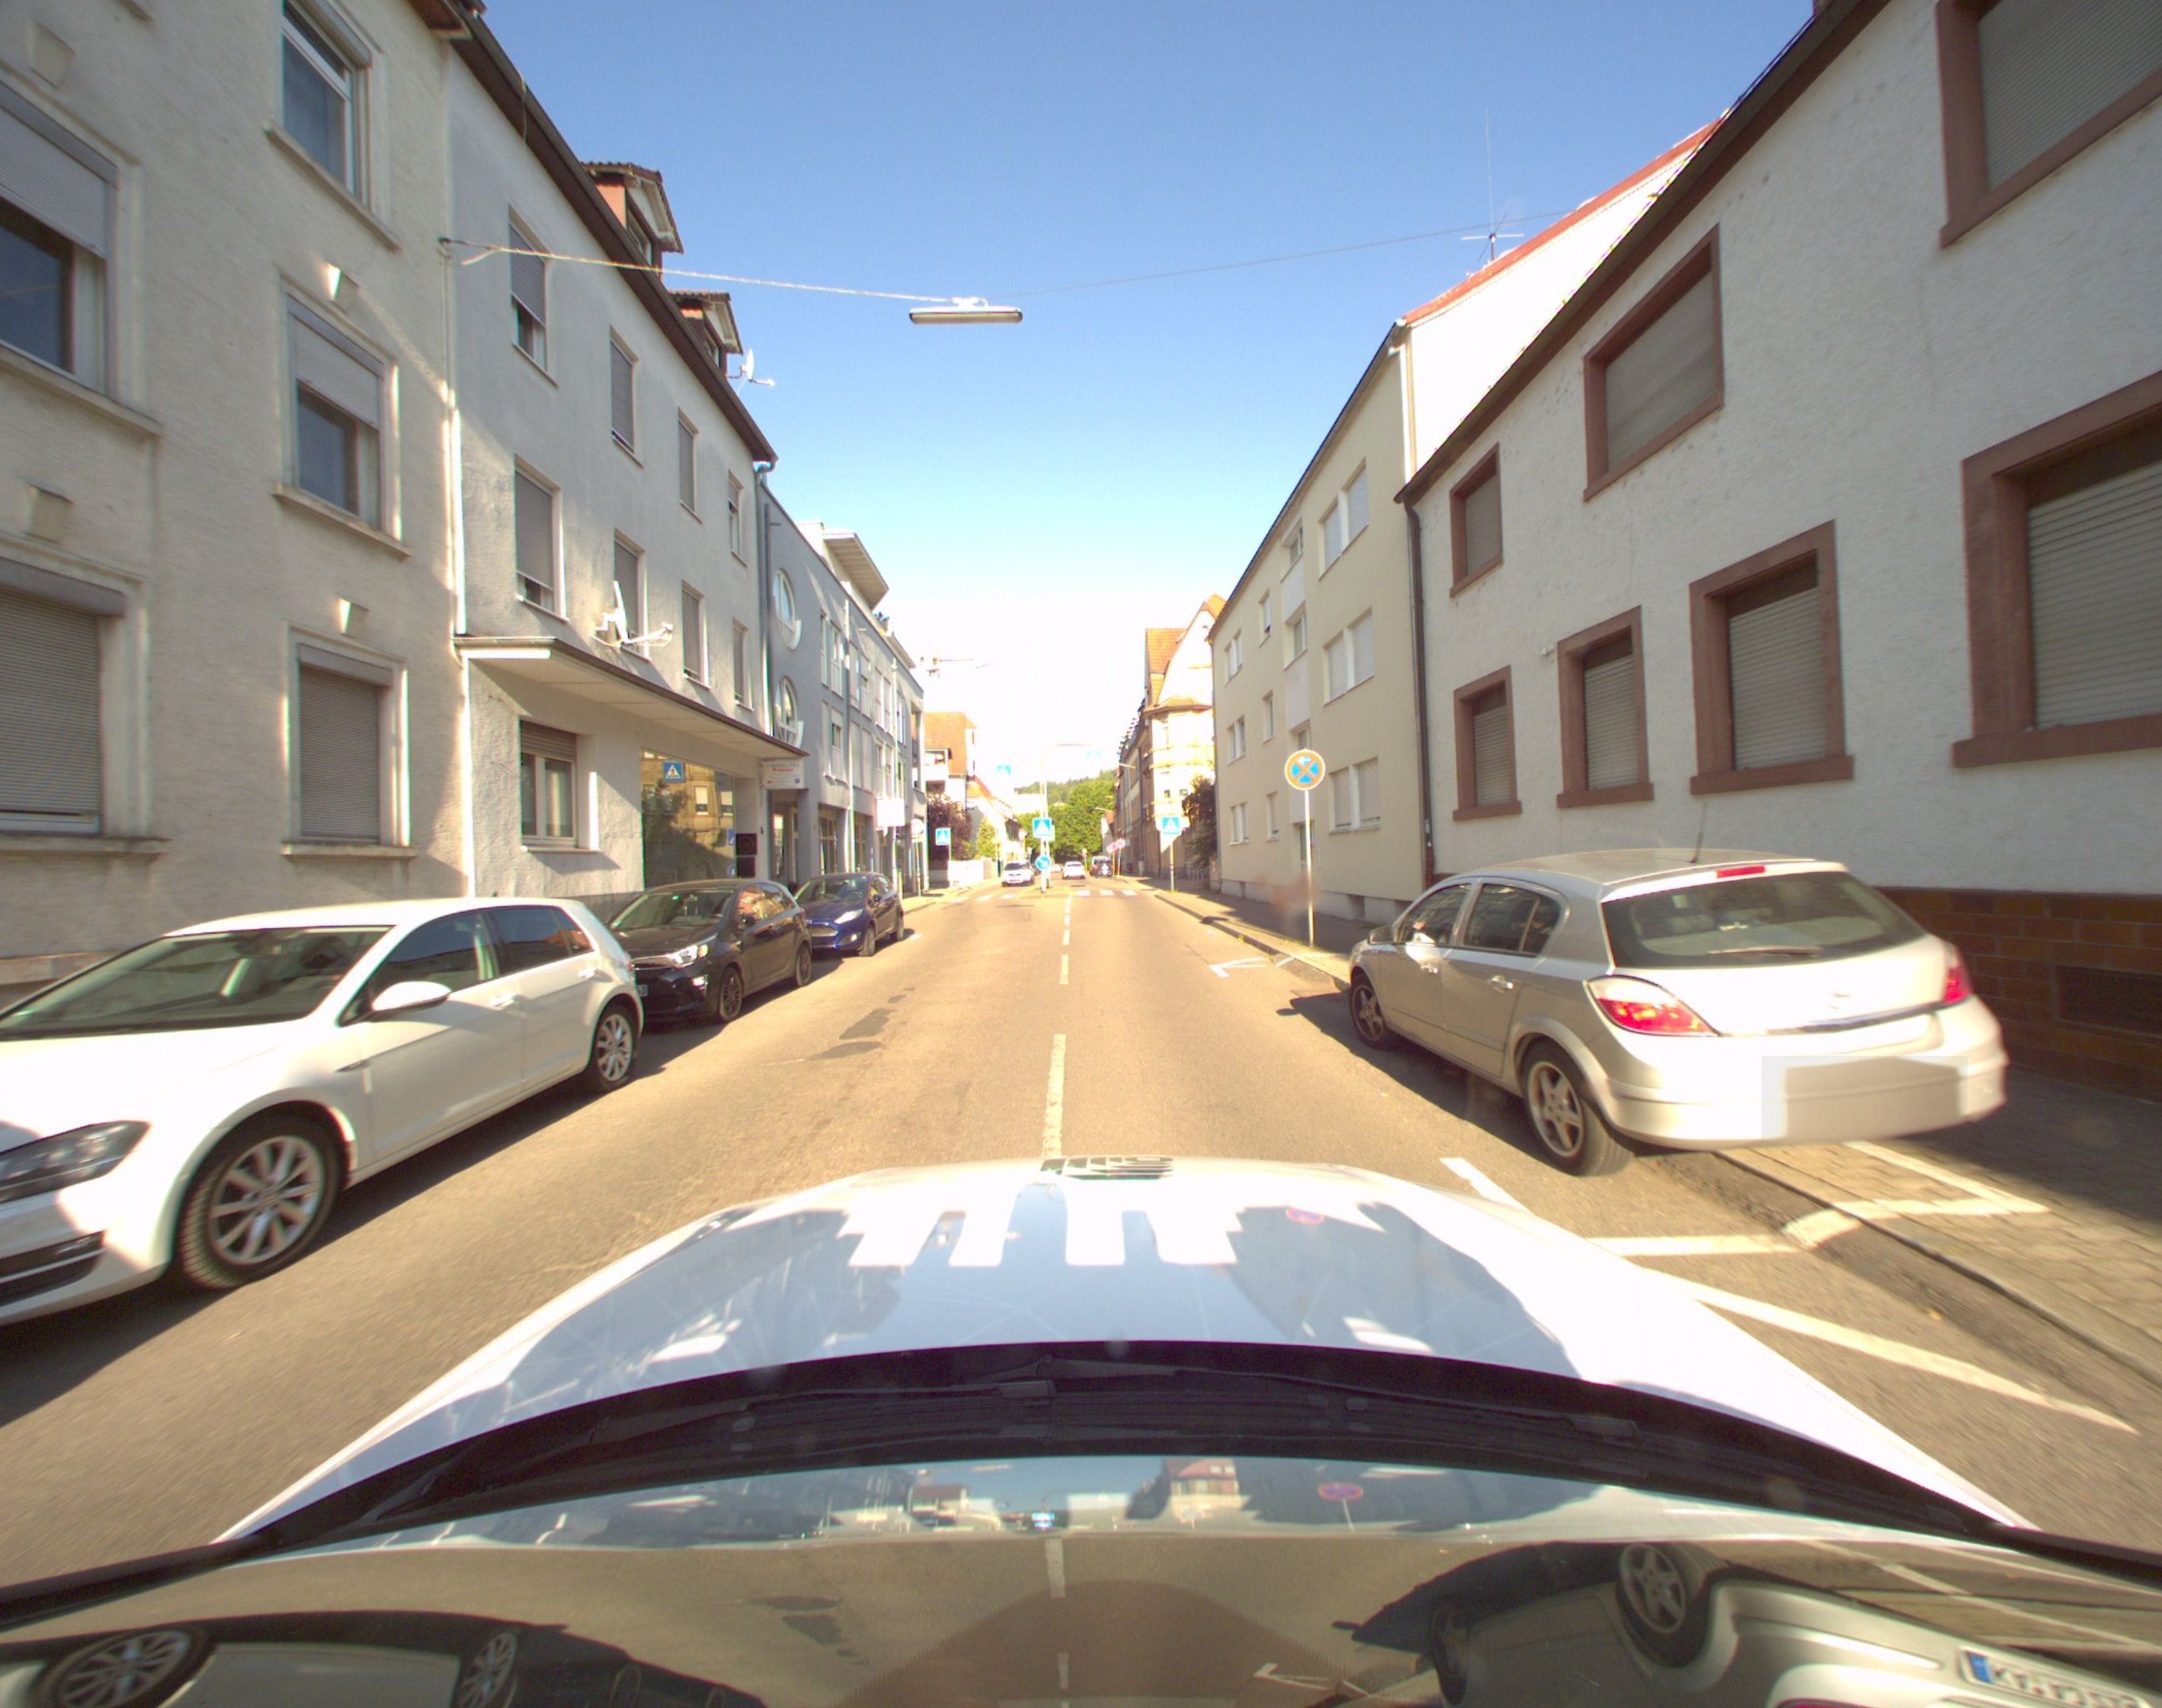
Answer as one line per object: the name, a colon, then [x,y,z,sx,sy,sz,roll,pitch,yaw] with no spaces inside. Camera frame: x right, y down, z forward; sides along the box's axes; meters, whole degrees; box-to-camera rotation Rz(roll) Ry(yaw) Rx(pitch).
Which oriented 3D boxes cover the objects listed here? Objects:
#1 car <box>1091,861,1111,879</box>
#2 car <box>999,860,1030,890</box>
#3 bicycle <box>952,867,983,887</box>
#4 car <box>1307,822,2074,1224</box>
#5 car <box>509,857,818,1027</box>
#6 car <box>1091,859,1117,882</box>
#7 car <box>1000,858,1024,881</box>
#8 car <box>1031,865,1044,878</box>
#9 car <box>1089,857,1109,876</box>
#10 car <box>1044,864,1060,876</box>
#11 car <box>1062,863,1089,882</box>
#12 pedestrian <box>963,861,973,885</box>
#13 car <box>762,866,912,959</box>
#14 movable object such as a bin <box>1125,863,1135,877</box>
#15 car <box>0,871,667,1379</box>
car: [1.999,1.586,81.526,1.811,1.631,4.001,-3,0,1]
car: [-4.181,1.298,51.304,1.804,1.701,4.184,-3,-1,-5]
bicycle: [-6.971,1.417,49.866,1.781,1.184,0.598,-2,-1,-1]
car: [3.031,0.689,5.445,1.736,1.492,4.437,-3,-1,0]
car: [-4.448,0.827,9.384,1.655,1.526,3.806,-1,-1,-2]
car: [1.960,1.407,70.166,2.006,1.853,3.996,0,0,-2]
car: [-6.261,1.385,74.551,1.989,2.014,3.995,-1,-1,-3]
car: [-5.865,2.329,111.121,1.627,1.631,3.172,-3,0,-2]
car: [1.888,1.343,86.447,1.836,1.906,3.997,-3,0,-2]
car: [-4.917,2.726,137.640,1.995,2.014,3.983,-1,-1,-12]
car: [-0.522,1.541,67.221,1.989,1.466,3.995,-2,-1,-3]
pedestrian: [-6.953,1.167,50.156,0.556,1.472,0.600,-2,-1,-5]
car: [-4.471,1.019,15.554,1.726,1.499,3.956,-2,-1,-2]
movable object such as a bin: [4.910,1.598,80.946,0.869,1.377,0.684,-3,0,-3]
car: [-4.174,0.913,4.484,1.761,1.495,4.121,-3,0,-3]
